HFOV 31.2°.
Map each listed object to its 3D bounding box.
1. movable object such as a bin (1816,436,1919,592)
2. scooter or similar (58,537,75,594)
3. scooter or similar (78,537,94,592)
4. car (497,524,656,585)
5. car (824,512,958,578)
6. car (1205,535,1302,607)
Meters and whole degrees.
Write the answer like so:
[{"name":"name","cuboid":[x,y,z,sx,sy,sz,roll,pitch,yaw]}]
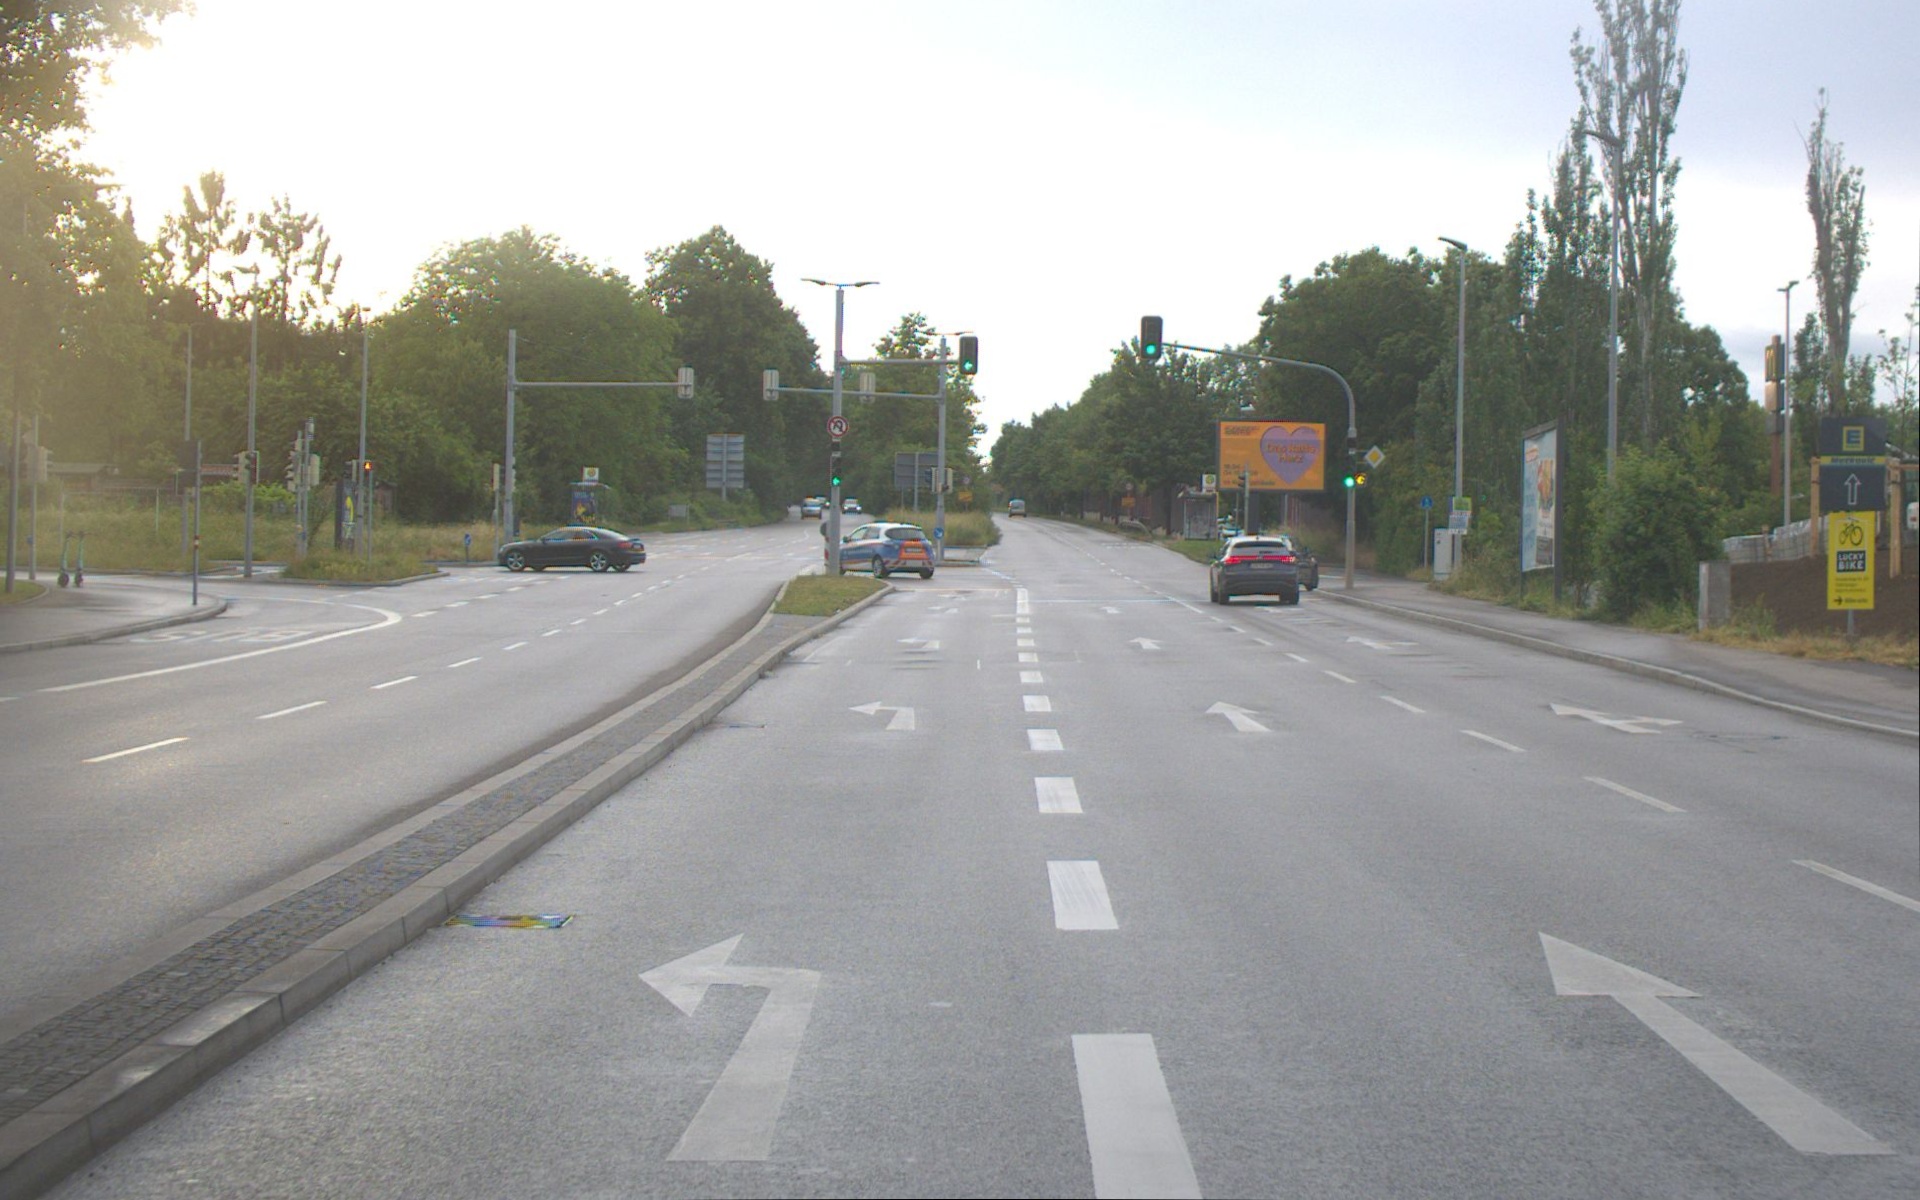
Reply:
[{"name":"movable object such as a bin","cuboid":[20.793,-1.856,74.888,2.301,3.265,5.426,1,1,-7]},{"name":"scooter or similar","cuboid":[-19.583,-0.754,75.367,0.311,1.214,1.308,1,2,-13]},{"name":"scooter or similar","cuboid":[-19.581,-0.802,77.030,0.311,1.214,1.308,1,2,-13]},{"name":"car","cuboid":[-11.635,-1.380,104.483,4.648,1.577,2.173,3,0,-4]},{"name":"car","cuboid":[-1.986,-1.571,97.774,2.076,1.712,4.199,3,0,-27]},{"name":"car","cuboid":[6.415,-0.659,75.411,1.745,1.465,4.166,2,1,0]}]
